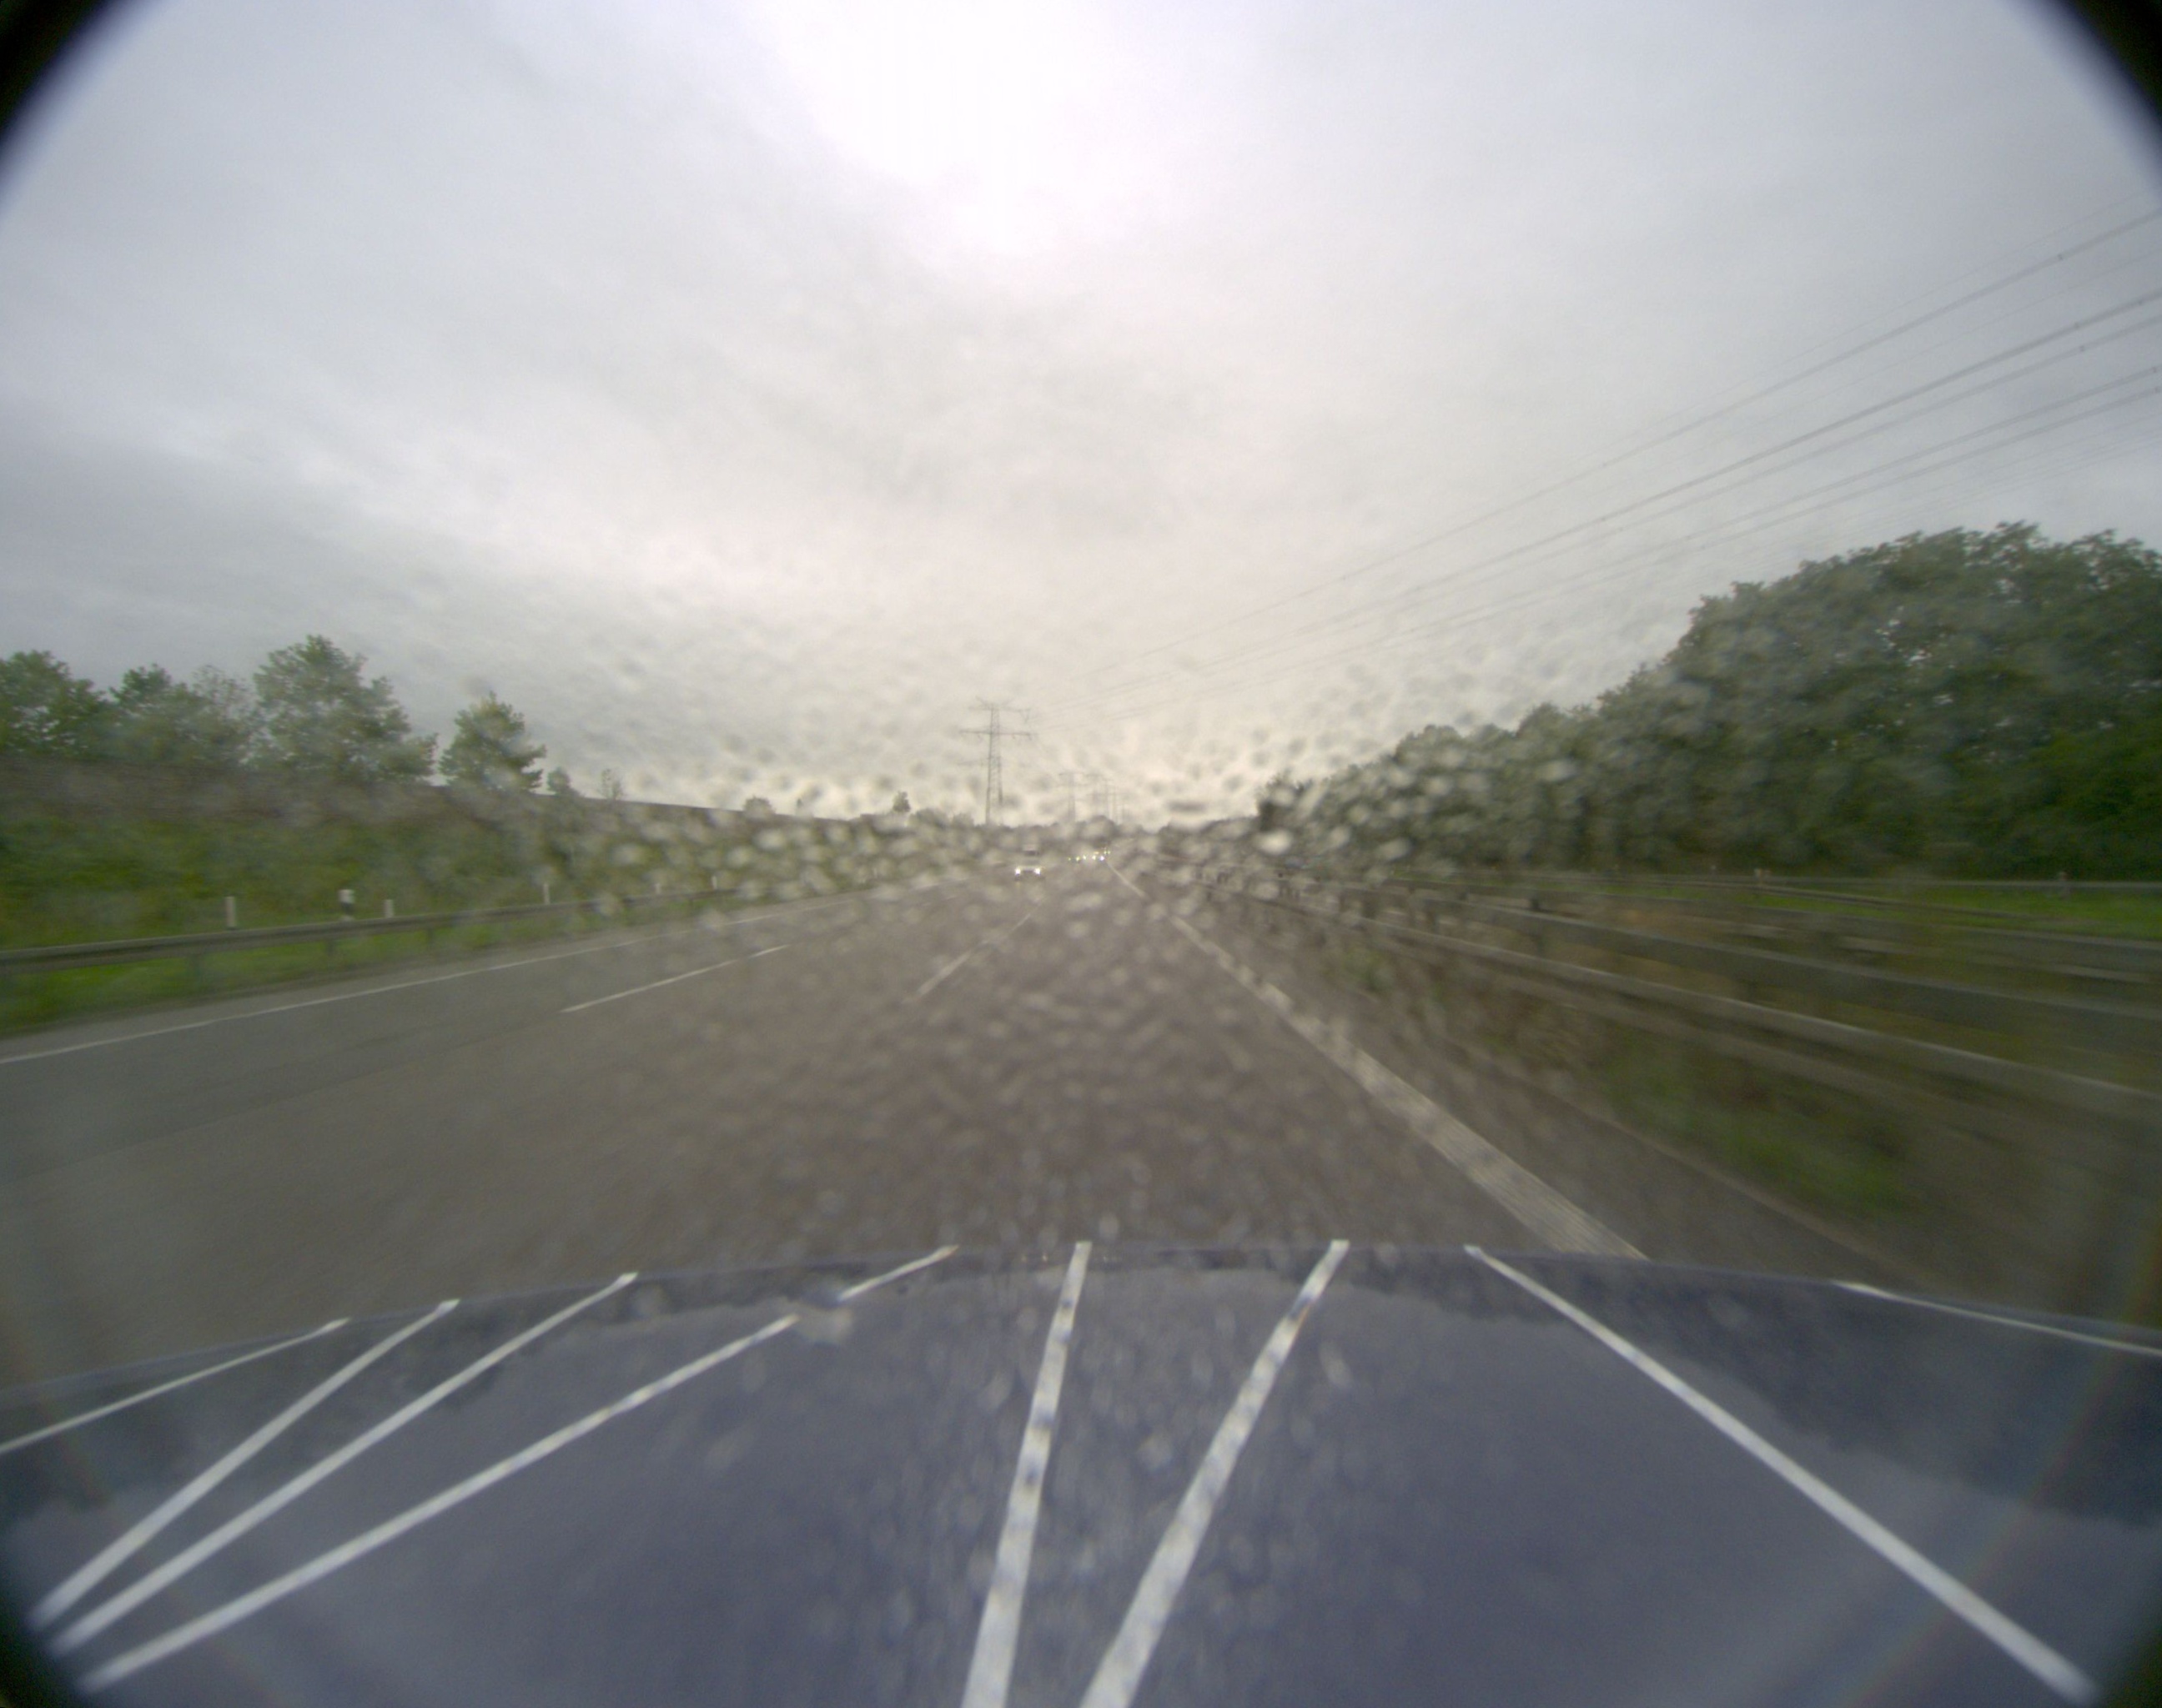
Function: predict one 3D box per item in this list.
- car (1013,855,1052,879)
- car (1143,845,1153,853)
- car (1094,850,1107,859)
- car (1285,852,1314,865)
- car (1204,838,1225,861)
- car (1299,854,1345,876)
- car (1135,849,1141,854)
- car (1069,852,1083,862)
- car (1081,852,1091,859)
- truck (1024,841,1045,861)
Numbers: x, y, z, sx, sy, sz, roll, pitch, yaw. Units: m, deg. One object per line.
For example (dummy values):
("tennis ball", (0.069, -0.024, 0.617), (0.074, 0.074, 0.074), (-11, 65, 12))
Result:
("car", (-3.149, 0.826, 49.805), (1.998, 1.419, 4.000), (-2, 1, 4))
("car", (14.745, -1.166, 167.544), (1.928, 1.646, 4.790), (1, 1, 1))
("car", (3.514, 0.038, 136.831), (1.998, 1.419, 4.000), (-2, 1, 4))
("car", (25.246, 0.495, 87.941), (1.974, 1.534, 3.998), (0, 0, -5))
("car", (19.816, -0.622, 112.995), (2.259, 3.308, 6.175), (1, 1, 1))
("car", (17.091, 0.735, 54.093), (1.879, 1.485, 4.514), (1, 0, 1))
("car", (17.178, -0.785, 229.015), (1.826, 1.503, 4.790), (0, 0, 1))
("car", (-0.764, 0.438, 122.046), (1.998, 1.419, 4.000), (-2, 1, 4))
("car", (1.019, 0.308, 163.377), (1.856, 1.419, 4.000), (-2, 1, 4))
("truck", (-7.840, -0.571, 129.984), (2.648, 3.325, 6.931), (-2, 1, 4))
